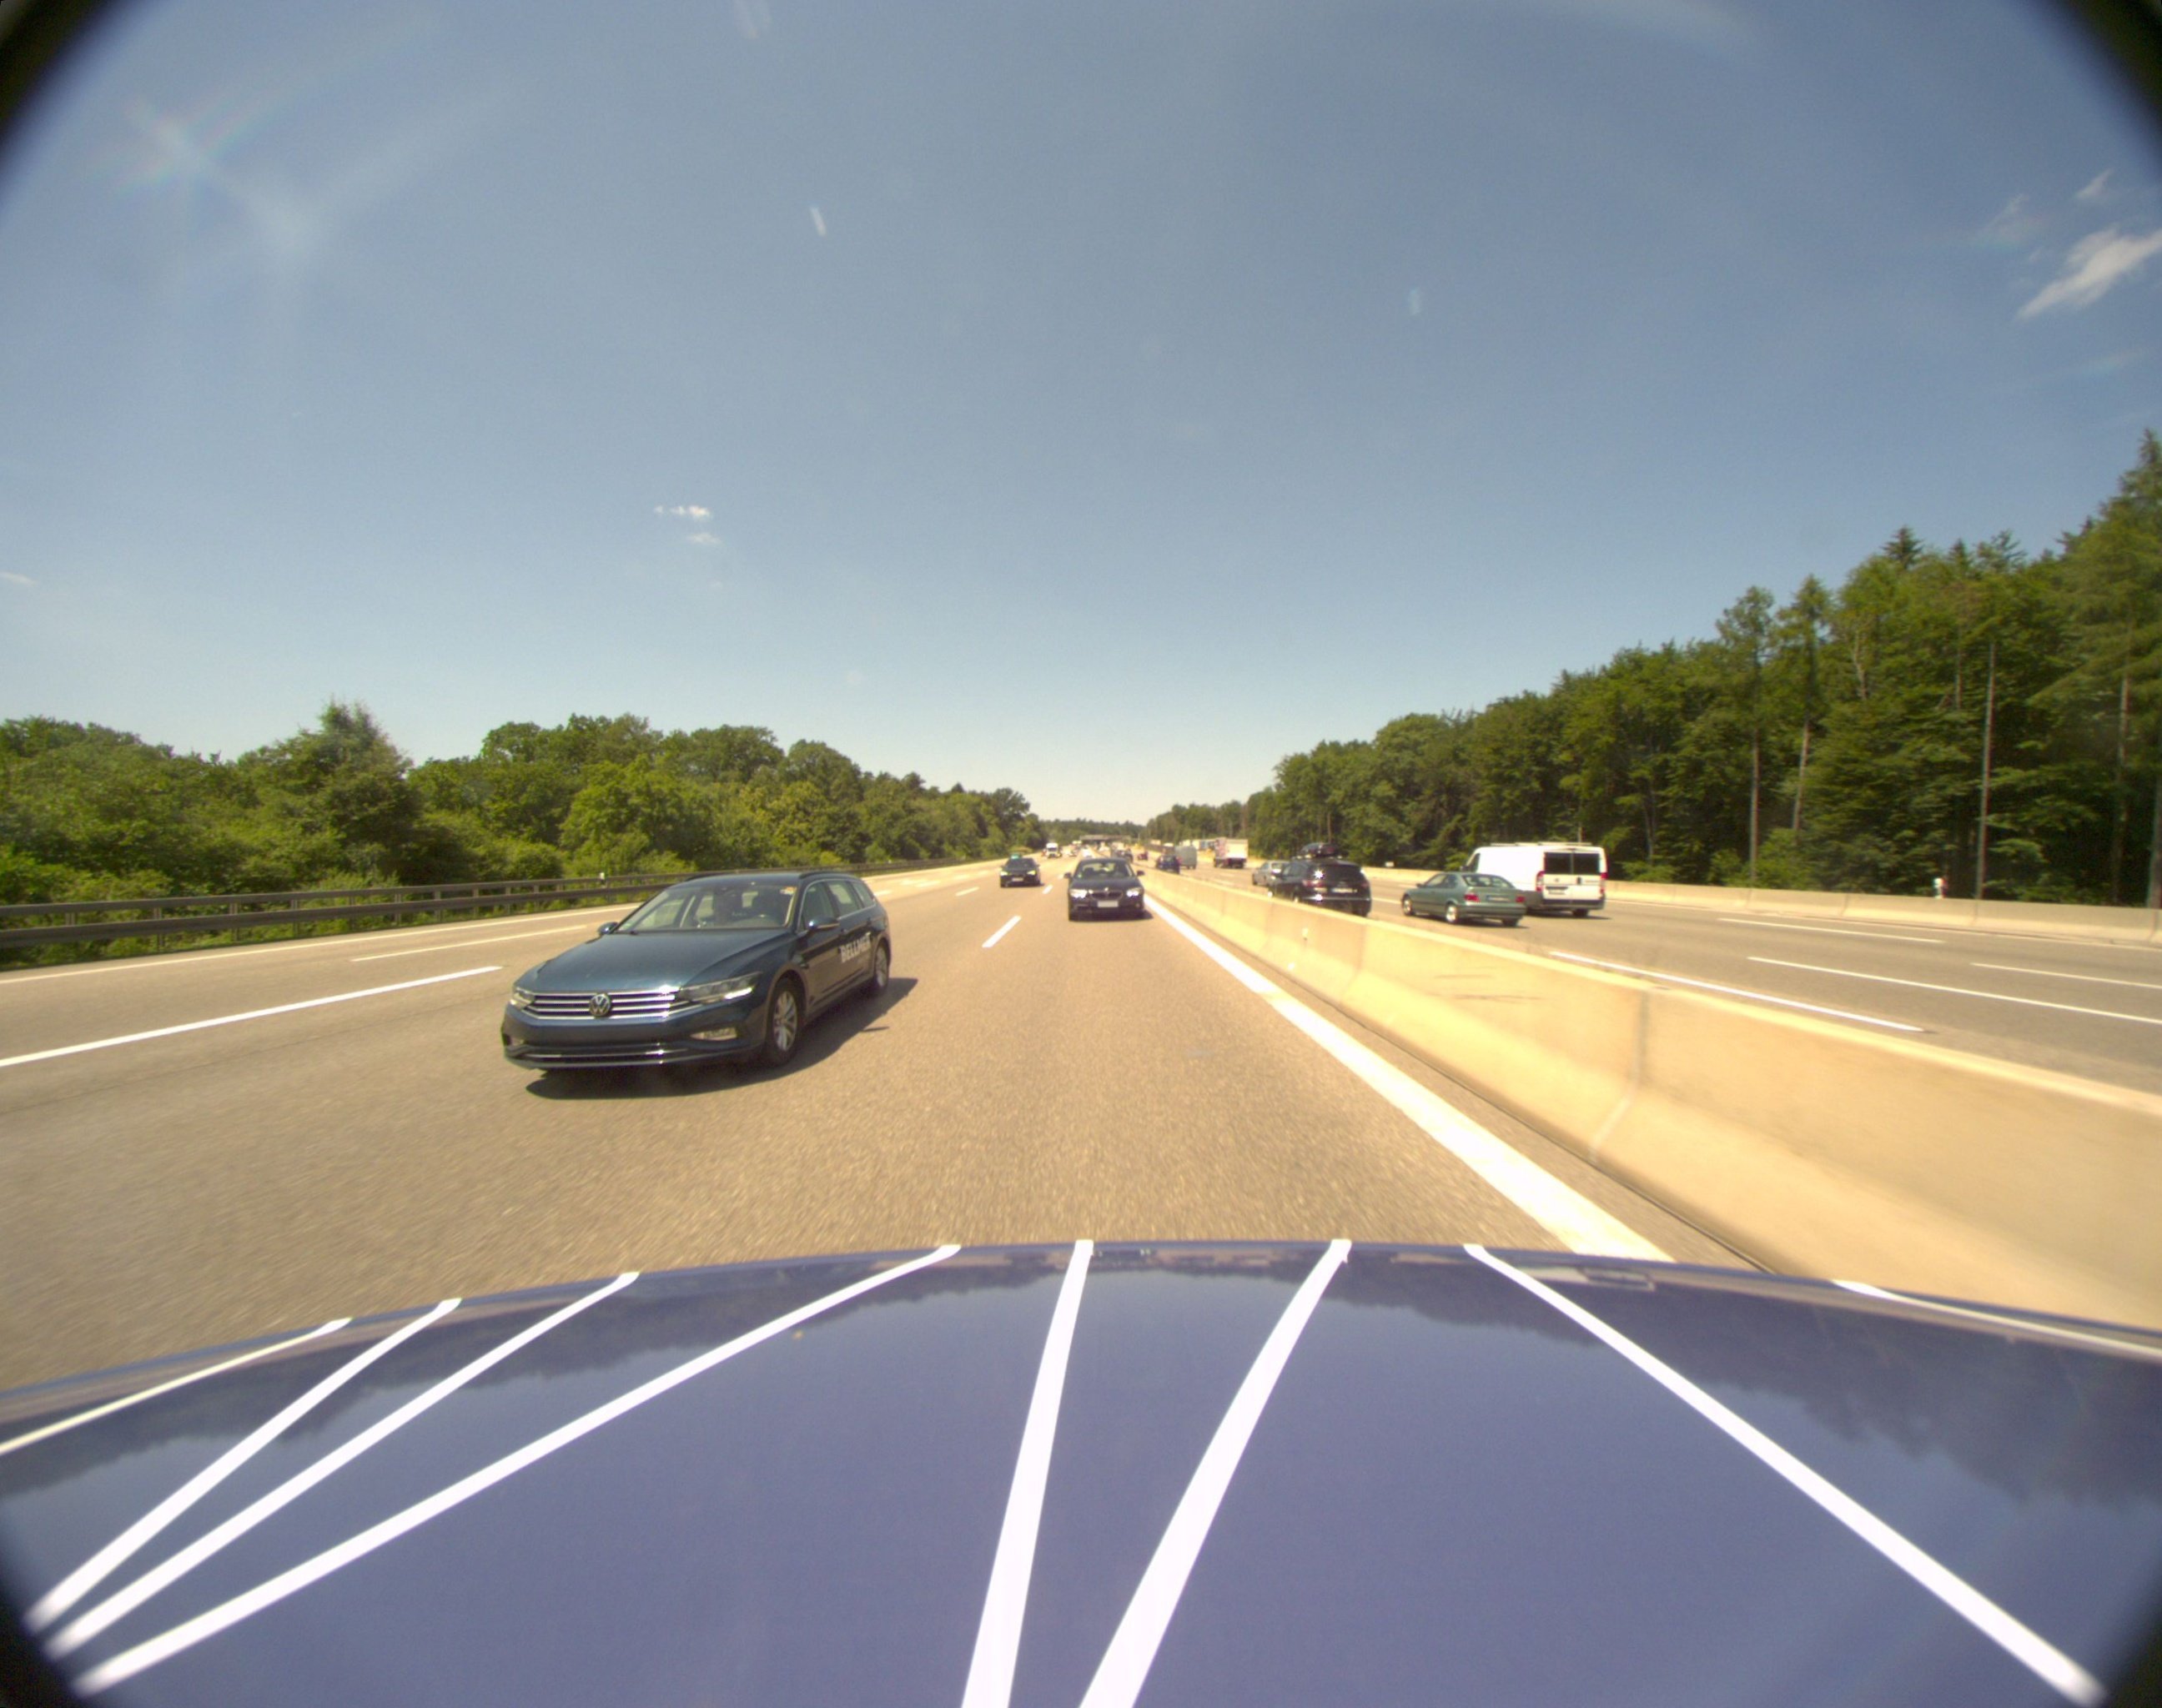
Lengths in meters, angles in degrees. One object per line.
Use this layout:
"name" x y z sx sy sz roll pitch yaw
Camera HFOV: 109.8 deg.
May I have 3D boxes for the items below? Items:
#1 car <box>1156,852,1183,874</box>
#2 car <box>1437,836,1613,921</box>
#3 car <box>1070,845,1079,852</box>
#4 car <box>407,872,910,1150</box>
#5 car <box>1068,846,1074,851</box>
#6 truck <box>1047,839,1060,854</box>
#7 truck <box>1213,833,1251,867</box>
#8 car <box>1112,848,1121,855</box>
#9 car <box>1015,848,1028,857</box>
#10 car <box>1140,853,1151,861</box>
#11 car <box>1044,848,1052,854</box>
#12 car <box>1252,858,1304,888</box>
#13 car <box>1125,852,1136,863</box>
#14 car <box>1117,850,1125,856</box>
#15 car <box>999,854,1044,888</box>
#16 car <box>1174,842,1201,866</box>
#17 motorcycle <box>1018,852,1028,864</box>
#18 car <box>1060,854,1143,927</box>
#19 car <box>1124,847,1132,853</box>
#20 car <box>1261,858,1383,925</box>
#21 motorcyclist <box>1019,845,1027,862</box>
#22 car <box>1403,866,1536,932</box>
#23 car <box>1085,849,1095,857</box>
"car" 7.035 0.704 60.579 1.709 1.652 3.759 0 1 1
"car" 14.392 0.654 25.308 1.935 2.399 6.624 2 1 1
"car" -1.675 -1.396 188.134 1.998 1.671 4.127 1 1 2
"car" -3.079 1.001 7.016 1.734 1.439 4.961 -2 1 1
"car" -2.996 -1.646 231.359 1.874 1.560 4.127 0 0 1
"truck" -6.110 -1.706 170.100 2.428 3.237 8.688 1 1 0
"truck" 18.549 -0.567 93.949 2.726 3.917 10.234 1 1 1
"car" 7.093 -0.489 153.715 1.756 1.369 4.492 -1 0 1
"car" -11.559 -0.242 147.717 1.998 1.671 4.127 1 1 2
"car" 12.580 0.593 147.565 1.722 1.441 4.908 -2 0 0
"car" -9.025 -0.755 207.675 1.874 1.560 4.127 0 0 1
"car" 10.626 0.991 41.254 1.682 1.436 4.526 1 1 0
"car" 7.928 0.569 121.419 1.618 1.652 3.849 0 1 1
"car" 9.048 -0.211 171.406 1.618 1.386 3.849 0 1 1
"car" -2.890 0.783 37.449 1.834 1.454 4.203 1 1 0
"car" 12.019 -0.010 86.227 1.935 2.592 7.230 2 0 1
"motorcycle" -6.901 0.486 90.836 0.925 1.311 2.997 0 1 1
"car" 0.501 0.798 18.838 1.741 1.450 4.542 -2 1 1
"car" 12.339 -1.019 199.760 1.975 1.714 4.509 1 0 1
"car" 6.686 0.957 21.762 1.874 1.596 5.228 1 0 1
"motorcyclist" -6.910 -0.054 90.662 0.914 1.926 0.905 0 1 1
"car" 10.145 1.116 20.182 1.553 1.447 3.839 2 0 1
"car" 2.058 -0.207 172.427 1.998 1.935 4.127 0 0 2
